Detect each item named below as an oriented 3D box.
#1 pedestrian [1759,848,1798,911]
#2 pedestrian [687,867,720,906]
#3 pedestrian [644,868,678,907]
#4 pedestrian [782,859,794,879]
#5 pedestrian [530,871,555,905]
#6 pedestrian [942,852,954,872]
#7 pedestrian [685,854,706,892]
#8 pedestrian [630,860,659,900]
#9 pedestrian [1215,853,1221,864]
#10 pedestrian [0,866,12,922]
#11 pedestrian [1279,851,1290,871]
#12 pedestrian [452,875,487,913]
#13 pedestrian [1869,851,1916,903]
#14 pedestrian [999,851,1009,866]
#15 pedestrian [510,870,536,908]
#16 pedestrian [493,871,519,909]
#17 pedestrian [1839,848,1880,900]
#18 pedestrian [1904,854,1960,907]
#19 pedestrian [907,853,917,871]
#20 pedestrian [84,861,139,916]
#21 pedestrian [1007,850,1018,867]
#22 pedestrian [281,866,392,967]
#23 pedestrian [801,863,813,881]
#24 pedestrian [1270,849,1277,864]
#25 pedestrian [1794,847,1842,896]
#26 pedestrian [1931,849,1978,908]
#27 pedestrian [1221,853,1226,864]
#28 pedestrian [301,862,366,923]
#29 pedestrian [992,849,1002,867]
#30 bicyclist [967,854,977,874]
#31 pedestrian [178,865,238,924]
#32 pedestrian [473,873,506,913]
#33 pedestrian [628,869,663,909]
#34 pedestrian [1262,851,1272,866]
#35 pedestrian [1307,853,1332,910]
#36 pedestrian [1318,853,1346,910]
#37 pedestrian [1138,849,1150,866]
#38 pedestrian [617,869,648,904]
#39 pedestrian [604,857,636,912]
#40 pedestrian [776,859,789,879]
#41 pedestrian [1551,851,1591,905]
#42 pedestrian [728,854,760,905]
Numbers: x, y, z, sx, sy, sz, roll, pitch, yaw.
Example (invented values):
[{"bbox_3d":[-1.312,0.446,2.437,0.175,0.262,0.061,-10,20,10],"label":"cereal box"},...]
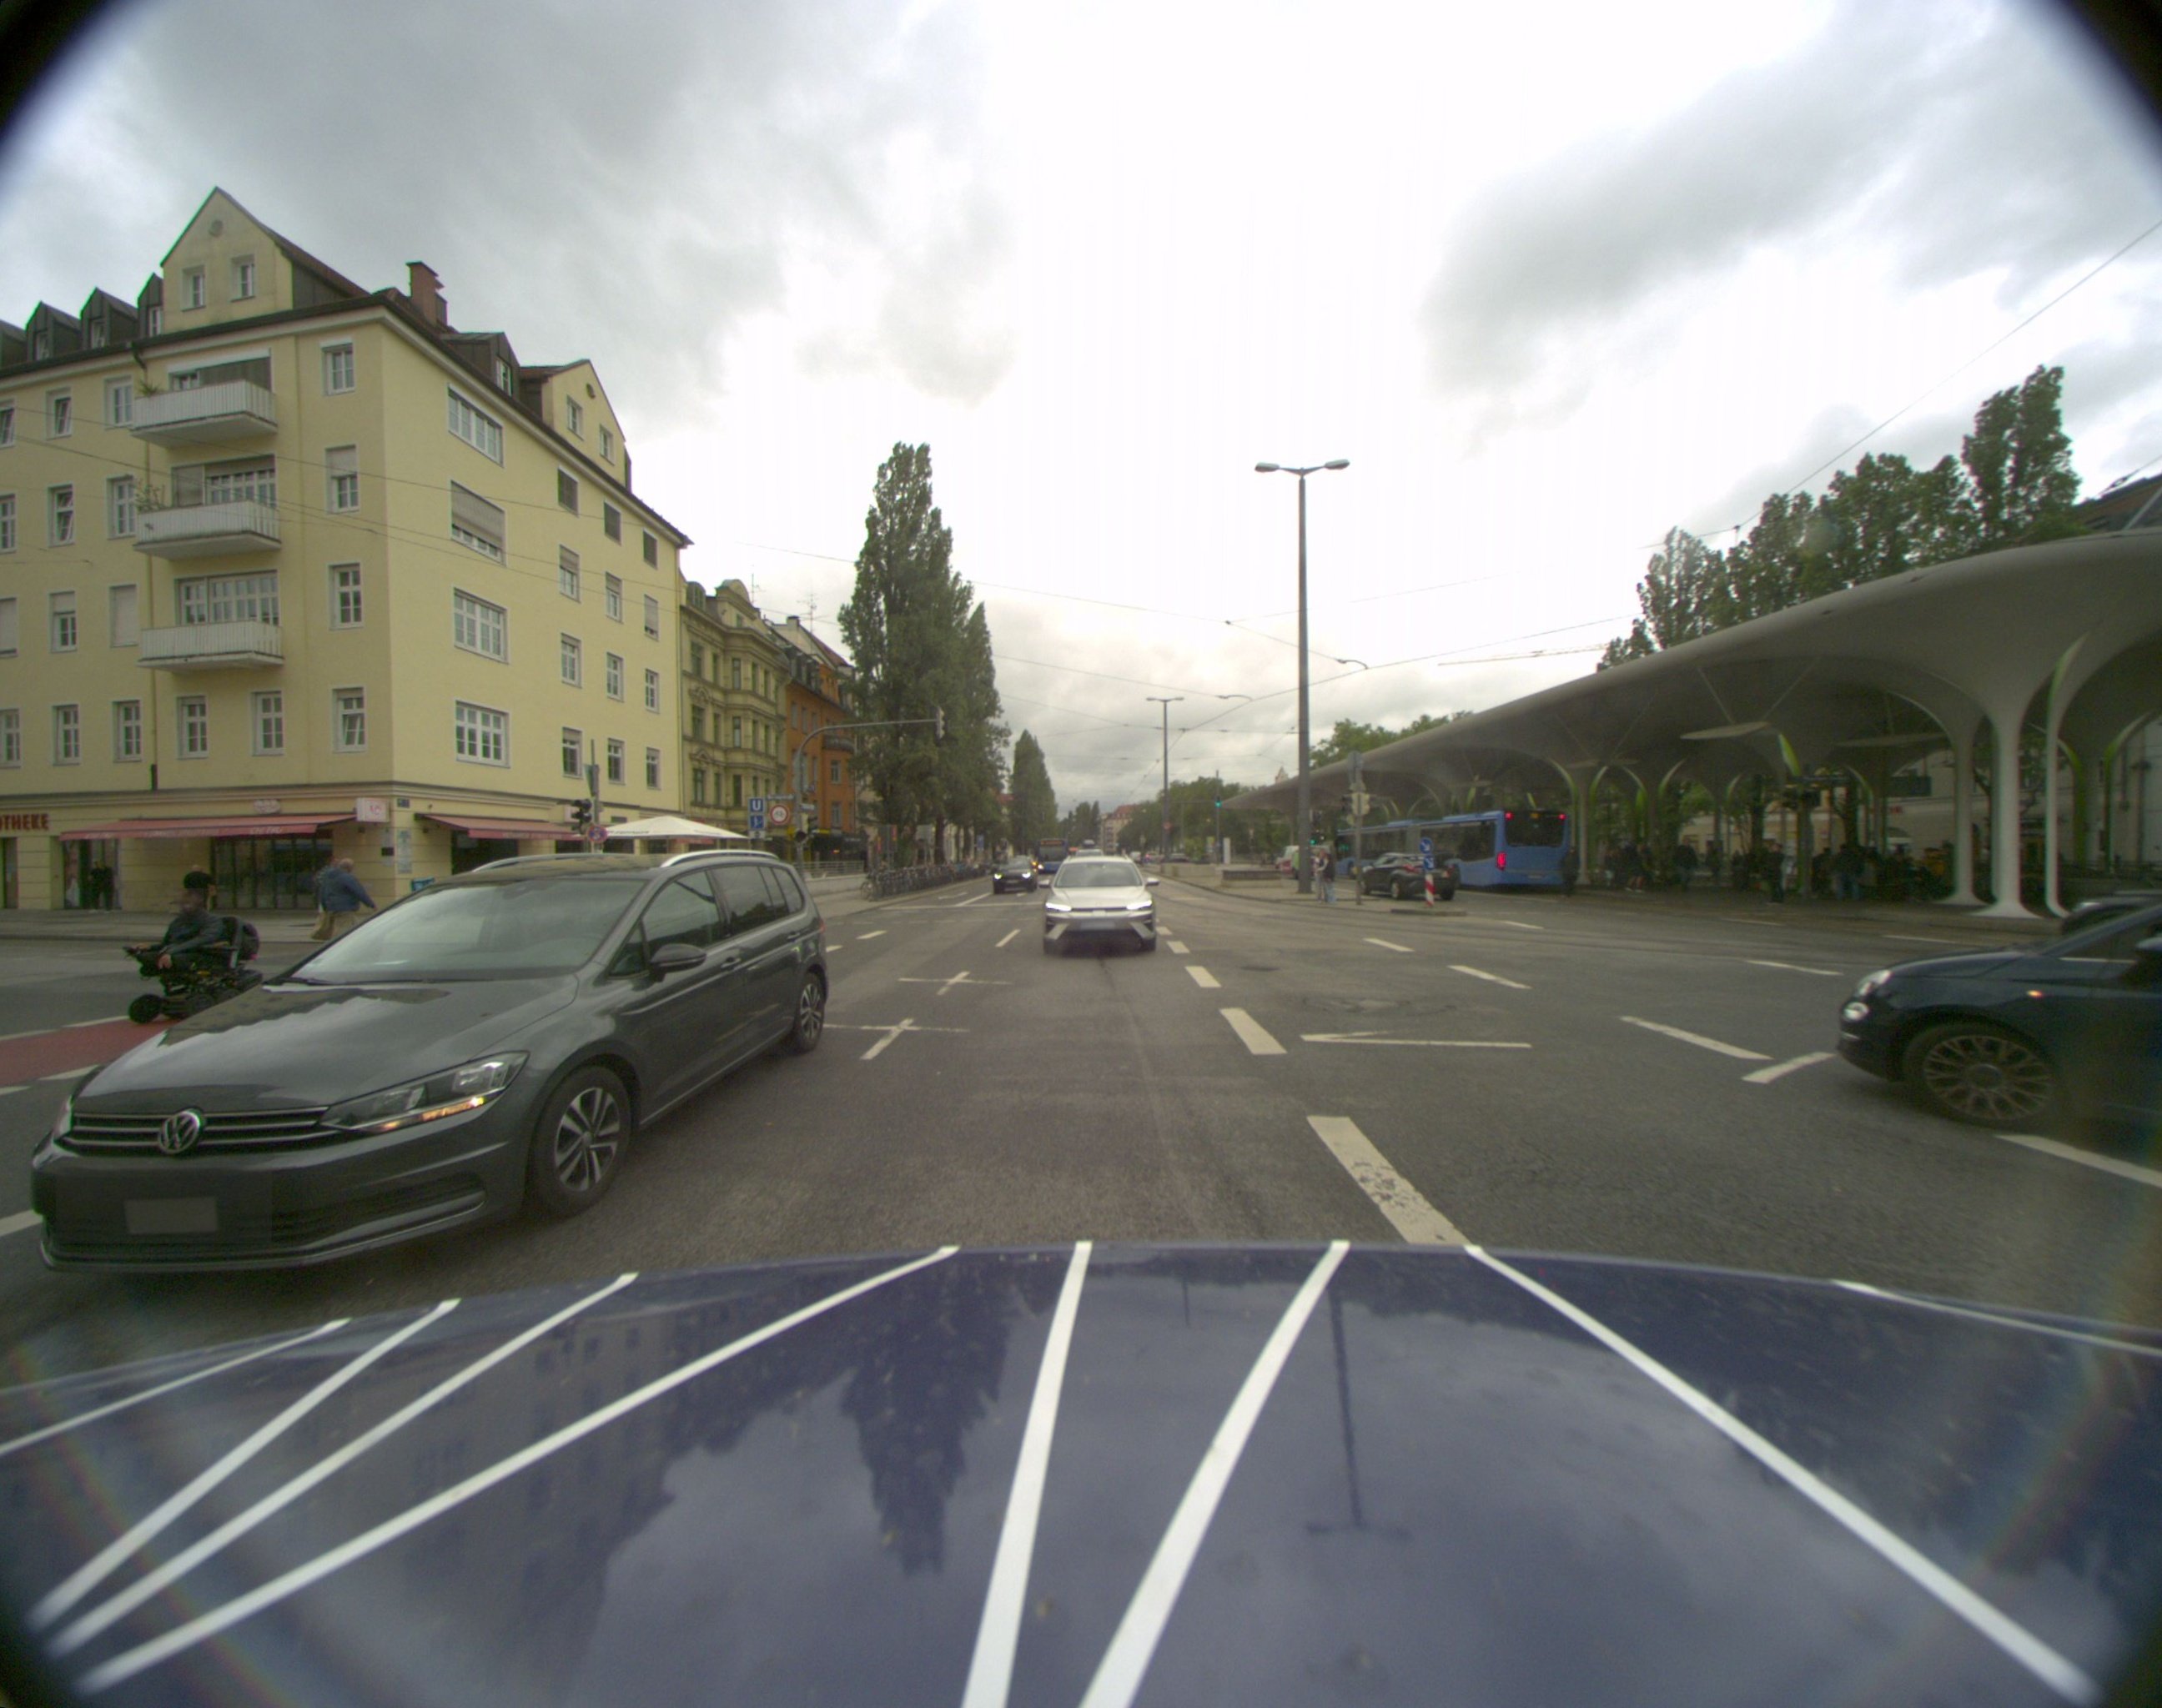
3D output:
[{"bbox_3d":[19.119,0.684,20.832,0.548,1.710,0.615,0,1,8],"label":"pedestrian"},{"bbox_3d":[-13.017,1.102,26.216,0.679,1.303,0.796,-1,1,1],"label":"pedestrian"},{"bbox_3d":[-14.543,1.163,26.316,0.679,1.304,0.796,-1,1,1],"label":"pedestrian"},{"bbox_3d":[-19.204,0.967,49.784,0.584,1.273,0.583,-1,1,0],"label":"pedestrian"},{"bbox_3d":[-19.123,1.209,26.980,0.479,1.159,0.527,-1,1,-1],"label":"pedestrian"},{"bbox_3d":[-10.535,0.648,60.313,0.761,1.553,0.763,-1,0,2],"label":"pedestrian"},{"bbox_3d":[-17.679,0.853,34.885,0.602,1.729,0.666,-1,1,1],"label":"pedestrian"},{"bbox_3d":[-17.893,1.049,31.146,0.712,1.623,0.786,-1,1,1],"label":"pedestrian"},{"bbox_3d":[19.371,0.606,107.332,0.632,1.549,0.589,0,1,0],"label":"pedestrian"},{"bbox_3d":[-32.121,1.185,22.189,0.759,1.633,0.768,0,1,11],"label":"pedestrian"},{"bbox_3d":[18.813,0.647,70.271,0.667,1.828,0.808,-1,1,-30],"label":"pedestrian"},{"bbox_3d":[-19.481,1.264,24.228,0.515,1.175,0.703,-1,1,-1],"label":"pedestrian"},{"bbox_3d":[23.221,0.644,21.752,0.872,1.449,0.552,0,1,43],"label":"pedestrian"},{"bbox_3d":[-8.157,0.491,80.236,0.758,1.628,0.699,-1,0,-42],"label":"pedestrian"},{"bbox_3d":[-19.097,1.190,26.019,0.479,1.291,0.527,-1,1,-1],"label":"pedestrian"},{"bbox_3d":[-19.648,1.221,25.966,0.479,1.291,0.527,-1,1,-1],"label":"pedestrian"},{"bbox_3d":[24.096,0.601,23.529,0.872,1.574,0.552,0,1,43],"label":"pedestrian"},{"bbox_3d":[24.763,0.763,22.124,0.734,1.521,0.798,-1,1,3],"label":"pedestrian"},{"bbox_3d":[-15.948,0.769,71.719,0.748,1.675,1.017,-1,1,1],"label":"pedestrian"},{"bbox_3d":[-29.937,1.055,23.474,0.852,1.673,0.705,0,1,11],"label":"pedestrian"},{"bbox_3d":[-7.338,0.459,81.249,0.881,1.791,0.757,-1,0,11],"label":"pedestrian"},{"bbox_3d":[-13.527,1.100,13.833,0.935,1.745,1.065,0,0,4],"label":"pedestrian"},{"bbox_3d":[-19.332,1.260,53.592,0.624,1.211,0.583,-1,1,0],"label":"pedestrian"},{"bbox_3d":[22.304,0.313,88.171,0.735,1.706,0.861,0,1,11],"label":"pedestrian"},{"bbox_3d":[27.641,0.638,28.512,1.008,1.810,0.840,-1,1,5],"label":"pedestrian"},{"bbox_3d":[24.279,0.673,21.134,0.597,1.601,0.624,0,1,5],"label":"pedestrian"},{"bbox_3d":[20.172,0.568,107.371,0.632,1.549,0.589,0,1,0],"label":"pedestrian"},{"bbox_3d":[-21.095,1.060,21.443,1.038,1.673,0.839,0,1,11],"label":"pedestrian"},{"bbox_3d":[-8.779,0.418,79.594,0.699,1.770,0.652,-1,0,34],"label":"pedestrian"},{"bbox_3d":[-8.909,0.789,62.057,0.681,1.594,0.939,-1,1,1],"label":"bicyclist"},{"bbox_3d":[-24.250,1.110,21.127,0.760,1.576,0.768,0,1,5],"label":"pedestrian"},{"bbox_3d":[-19.505,1.269,25.084,0.515,1.284,0.703,-1,1,-1],"label":"pedestrian"},{"bbox_3d":[-14.563,1.165,25.427,0.679,1.304,0.796,-1,1,1],"label":"pedestrian"},{"bbox_3d":[20.825,0.528,84.994,0.739,1.619,0.741,-1,1,-20],"label":"pedestrian"},{"bbox_3d":[6.869,0.776,21.853,0.520,1.609,0.465,0,1,45],"label":"pedestrian"},{"bbox_3d":[7.106,0.766,21.519,0.488,1.609,0.556,-1,1,-34],"label":"pedestrian"},{"bbox_3d":[6.895,0.420,83.054,0.862,1.801,0.895,-2,1,-26],"label":"pedestrian"},{"bbox_3d":[-15.587,1.118,26.402,0.627,1.196,0.700,-1,1,1],"label":"pedestrian"},{"bbox_3d":[-14.406,0.938,23.761,0.761,1.685,0.766,-1,1,-24],"label":"pedestrian"},{"bbox_3d":[-19.233,0.969,48.946,0.584,1.273,0.583,-1,1,0],"label":"pedestrian"},{"bbox_3d":[15.623,0.759,24.207,0.975,1.671,0.839,-1,1,-42],"label":"pedestrian"},{"bbox_3d":[-11.738,0.882,26.470,0.884,1.733,0.857,-1,1,-15],"label":"pedestrian"}]
